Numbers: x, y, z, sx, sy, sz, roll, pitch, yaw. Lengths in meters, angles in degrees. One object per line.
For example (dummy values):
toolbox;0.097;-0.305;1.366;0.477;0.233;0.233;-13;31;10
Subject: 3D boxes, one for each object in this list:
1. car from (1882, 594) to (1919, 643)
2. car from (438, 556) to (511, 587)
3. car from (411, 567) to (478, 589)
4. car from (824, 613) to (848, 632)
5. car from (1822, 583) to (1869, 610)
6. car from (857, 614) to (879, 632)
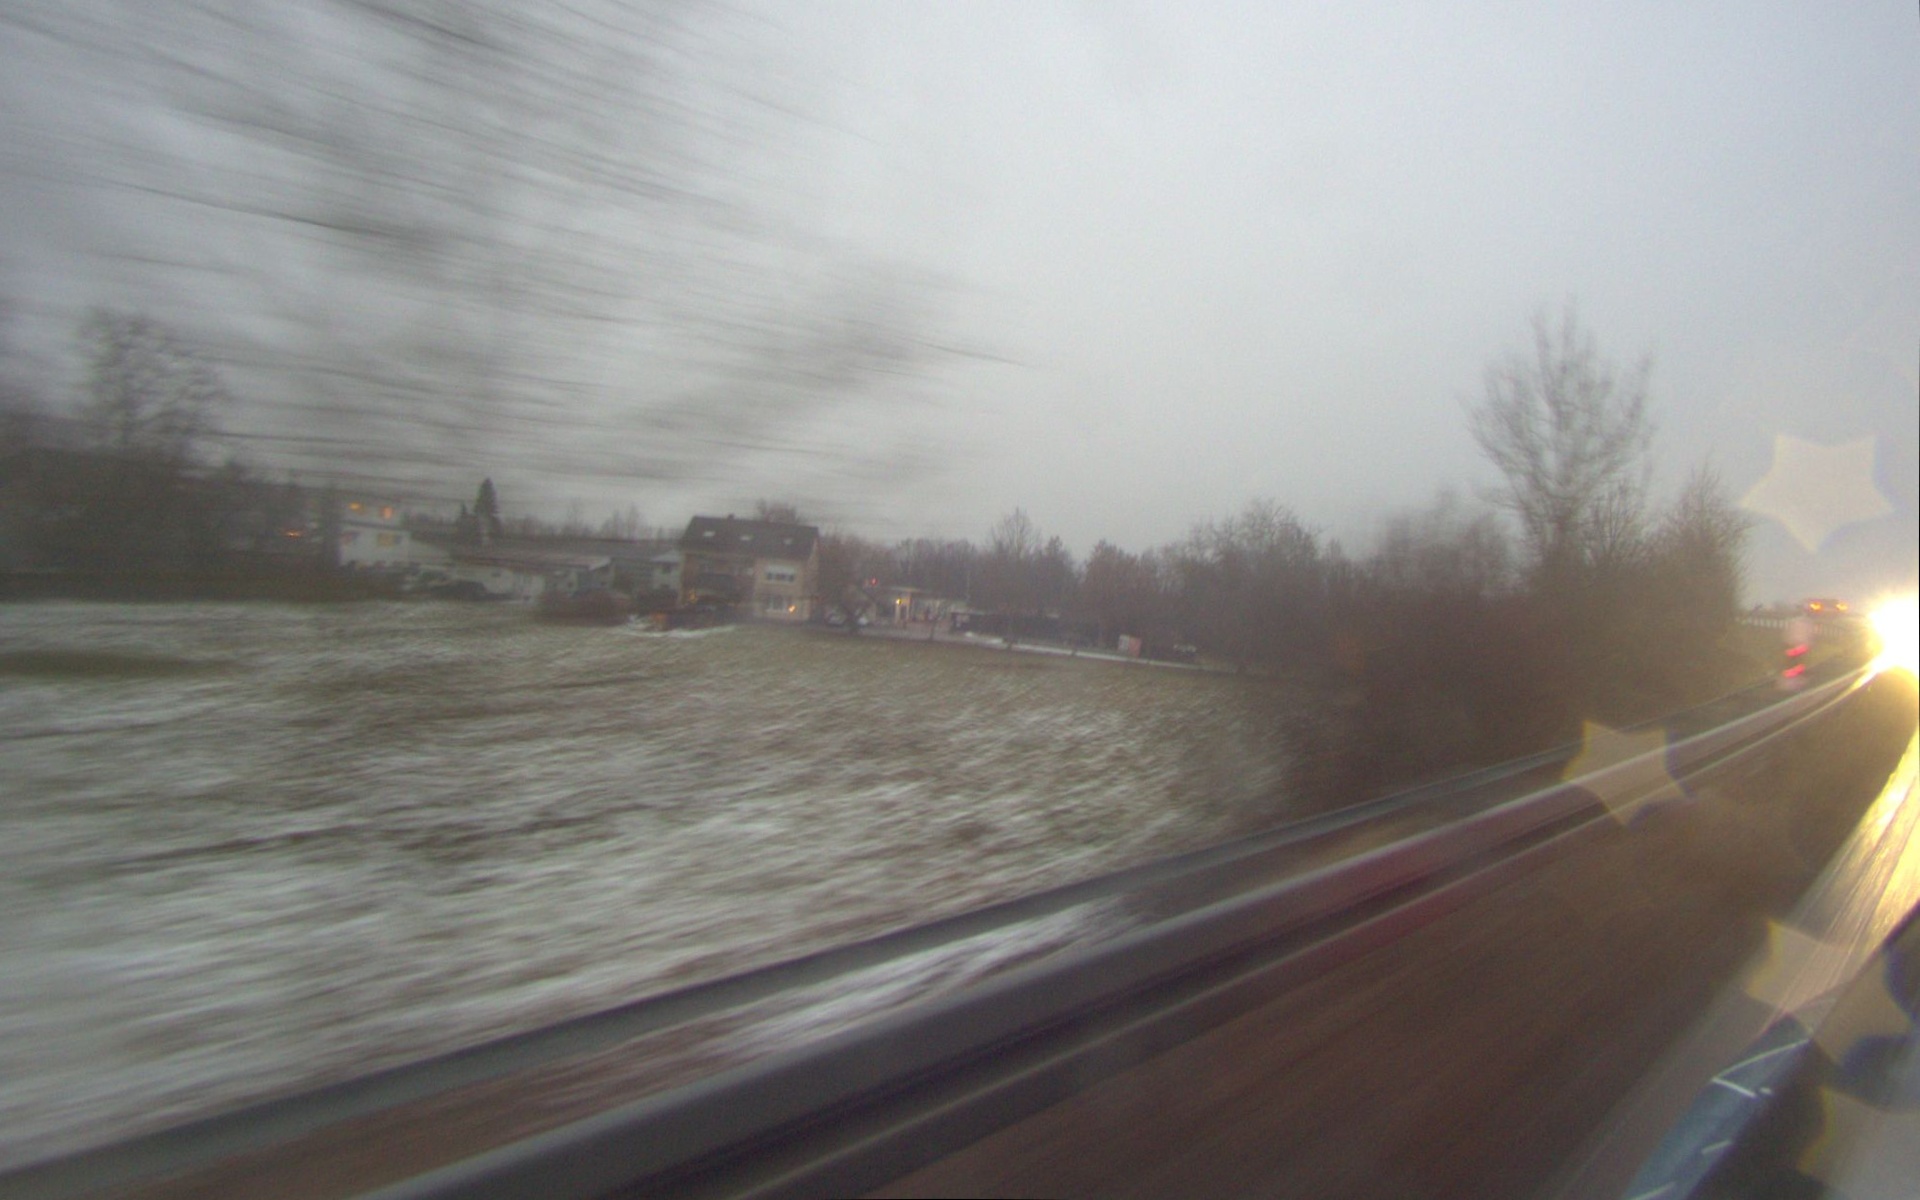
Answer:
car;35.457;0.758;36.986;2.093;1.595;4.733;4;0;37
car;-46.987;-2.740;98.048;5.996;2.876;2.295;1;1;-2
car;-47.673;-2.038;93.713;5.022;1.841;2.295;1;1;-2
car;-12.807;2.291;104.609;1.962;1.749;4.001;1;1;0
car;57.687;-0.222;66.004;2.007;1.655;4.806;2;1;38
car;-9.800;2.419;108.438;1.962;1.749;4.001;1;1;0
